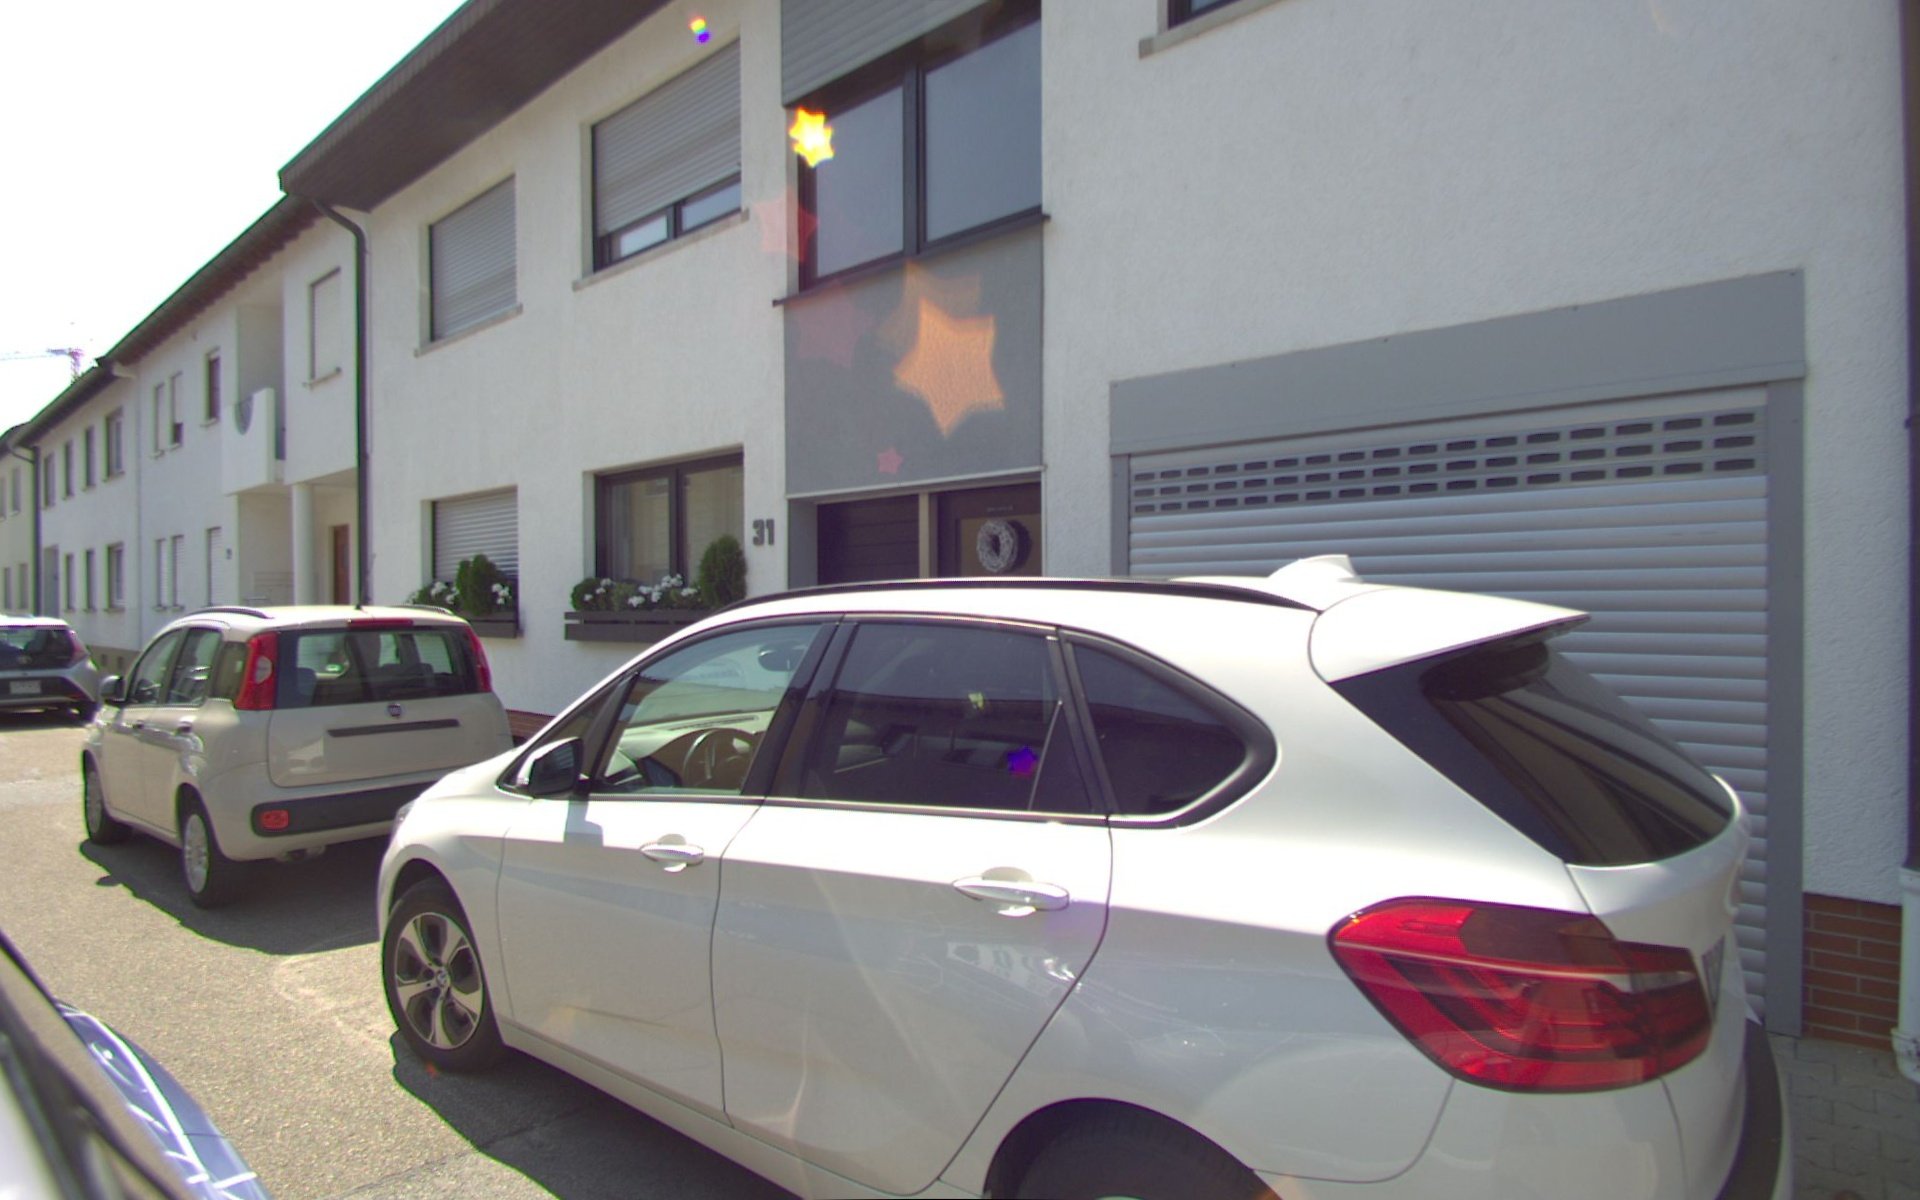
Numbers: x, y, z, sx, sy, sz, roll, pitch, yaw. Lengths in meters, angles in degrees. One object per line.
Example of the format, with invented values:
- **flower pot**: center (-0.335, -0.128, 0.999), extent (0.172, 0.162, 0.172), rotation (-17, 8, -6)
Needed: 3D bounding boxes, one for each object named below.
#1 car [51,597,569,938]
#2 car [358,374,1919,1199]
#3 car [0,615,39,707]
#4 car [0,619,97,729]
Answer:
- **car**: center (-4.251, 0.795, 6.428), extent (3.683, 1.553, 1.647), rotation (-1, -2, 38)
- **car**: center (-0.010, 0.624, 2.883), extent (3.937, 1.561, 1.647), rotation (-2, -2, 38)
- **car**: center (-17.348, 1.026, 17.794), extent (3.024, 1.540, 1.396), rotation (-1, -1, 42)
- **car**: center (-13.737, 1.014, 14.571), extent (3.212, 1.454, 1.585), rotation (-2, -2, 42)
